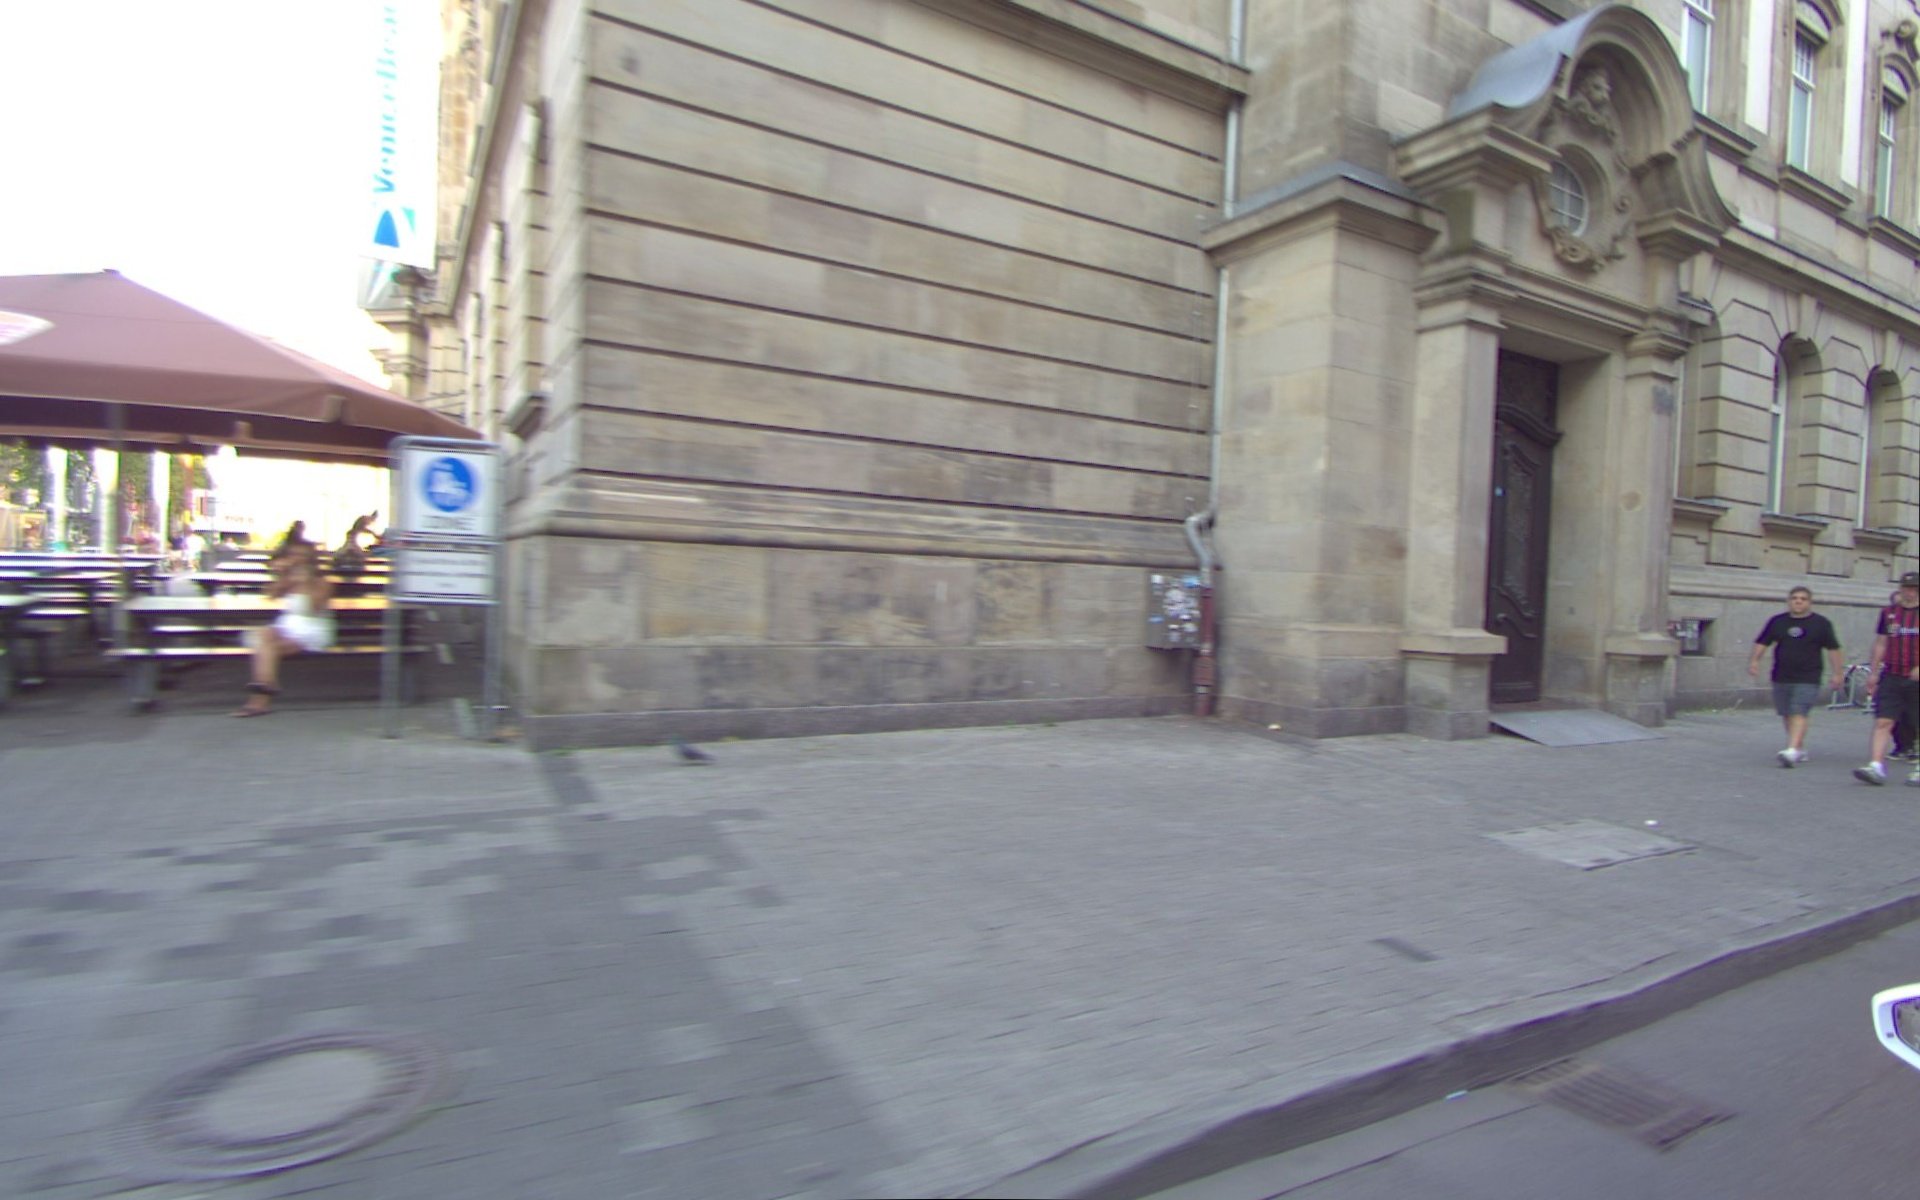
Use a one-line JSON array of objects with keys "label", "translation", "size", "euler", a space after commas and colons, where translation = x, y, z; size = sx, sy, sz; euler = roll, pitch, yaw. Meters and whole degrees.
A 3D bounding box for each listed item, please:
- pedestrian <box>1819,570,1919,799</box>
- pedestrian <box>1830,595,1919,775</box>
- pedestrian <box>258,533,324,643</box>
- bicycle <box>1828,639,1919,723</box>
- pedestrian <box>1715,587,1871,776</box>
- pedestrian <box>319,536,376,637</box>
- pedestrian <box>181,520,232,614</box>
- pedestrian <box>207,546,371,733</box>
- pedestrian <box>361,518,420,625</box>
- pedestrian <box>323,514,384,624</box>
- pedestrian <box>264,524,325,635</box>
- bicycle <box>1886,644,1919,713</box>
[{"label": "pedestrian", "translation": [8.228, 0.709, 8.726], "size": [0.857, 1.855, 0.714], "euler": [2, 4, -23]}, {"label": "pedestrian", "translation": [9.540, 0.837, 10.164], "size": [0.847, 1.690, 0.726], "euler": [2, 4, -28]}, {"label": "pedestrian", "translation": [-7.954, -0.145, 11.956], "size": [0.546, 1.261, 0.575], "euler": [2, 2, -25]}, {"label": "bicycle", "translation": [14.323, 1.242, 14.918], "size": [0.723, 1.123, 2.004], "euler": [2, 2, -36]}, {"label": "pedestrian", "translation": [7.841, 0.744, 9.481], "size": [0.738, 1.664, 0.754], "euler": [2, 4, -23]}, {"label": "pedestrian", "translation": [-7.926, -0.179, 13.016], "size": [0.546, 1.261, 0.575], "euler": [2, 2, -25]}, {"label": "pedestrian", "translation": [-13.902, -0.609, 18.548], "size": [0.642, 1.683, 0.645], "euler": [2, 2, -30]}, {"label": "pedestrian", "translation": [-4.984, 0.270, 7.522], "size": [0.737, 1.289, 0.862], "euler": [2, 4, -12]}, {"label": "pedestrian", "translation": [-11.214, -0.560, 19.787], "size": [0.682, 2.041, 0.736], "euler": [4, 2, 36]}, {"label": "pedestrian", "translation": [-11.568, -0.589, 19.165], "size": [0.682, 2.041, 0.736], "euler": [4, 2, 36]}, {"label": "pedestrian", "translation": [-8.484, -0.259, 12.820], "size": [0.546, 1.364, 0.575], "euler": [2, 2, -25]}, {"label": "bicycle", "translation": [16.614, 1.368, 16.476], "size": [1.995, 1.093, 0.726], "euler": [5, 2, 41]}]
